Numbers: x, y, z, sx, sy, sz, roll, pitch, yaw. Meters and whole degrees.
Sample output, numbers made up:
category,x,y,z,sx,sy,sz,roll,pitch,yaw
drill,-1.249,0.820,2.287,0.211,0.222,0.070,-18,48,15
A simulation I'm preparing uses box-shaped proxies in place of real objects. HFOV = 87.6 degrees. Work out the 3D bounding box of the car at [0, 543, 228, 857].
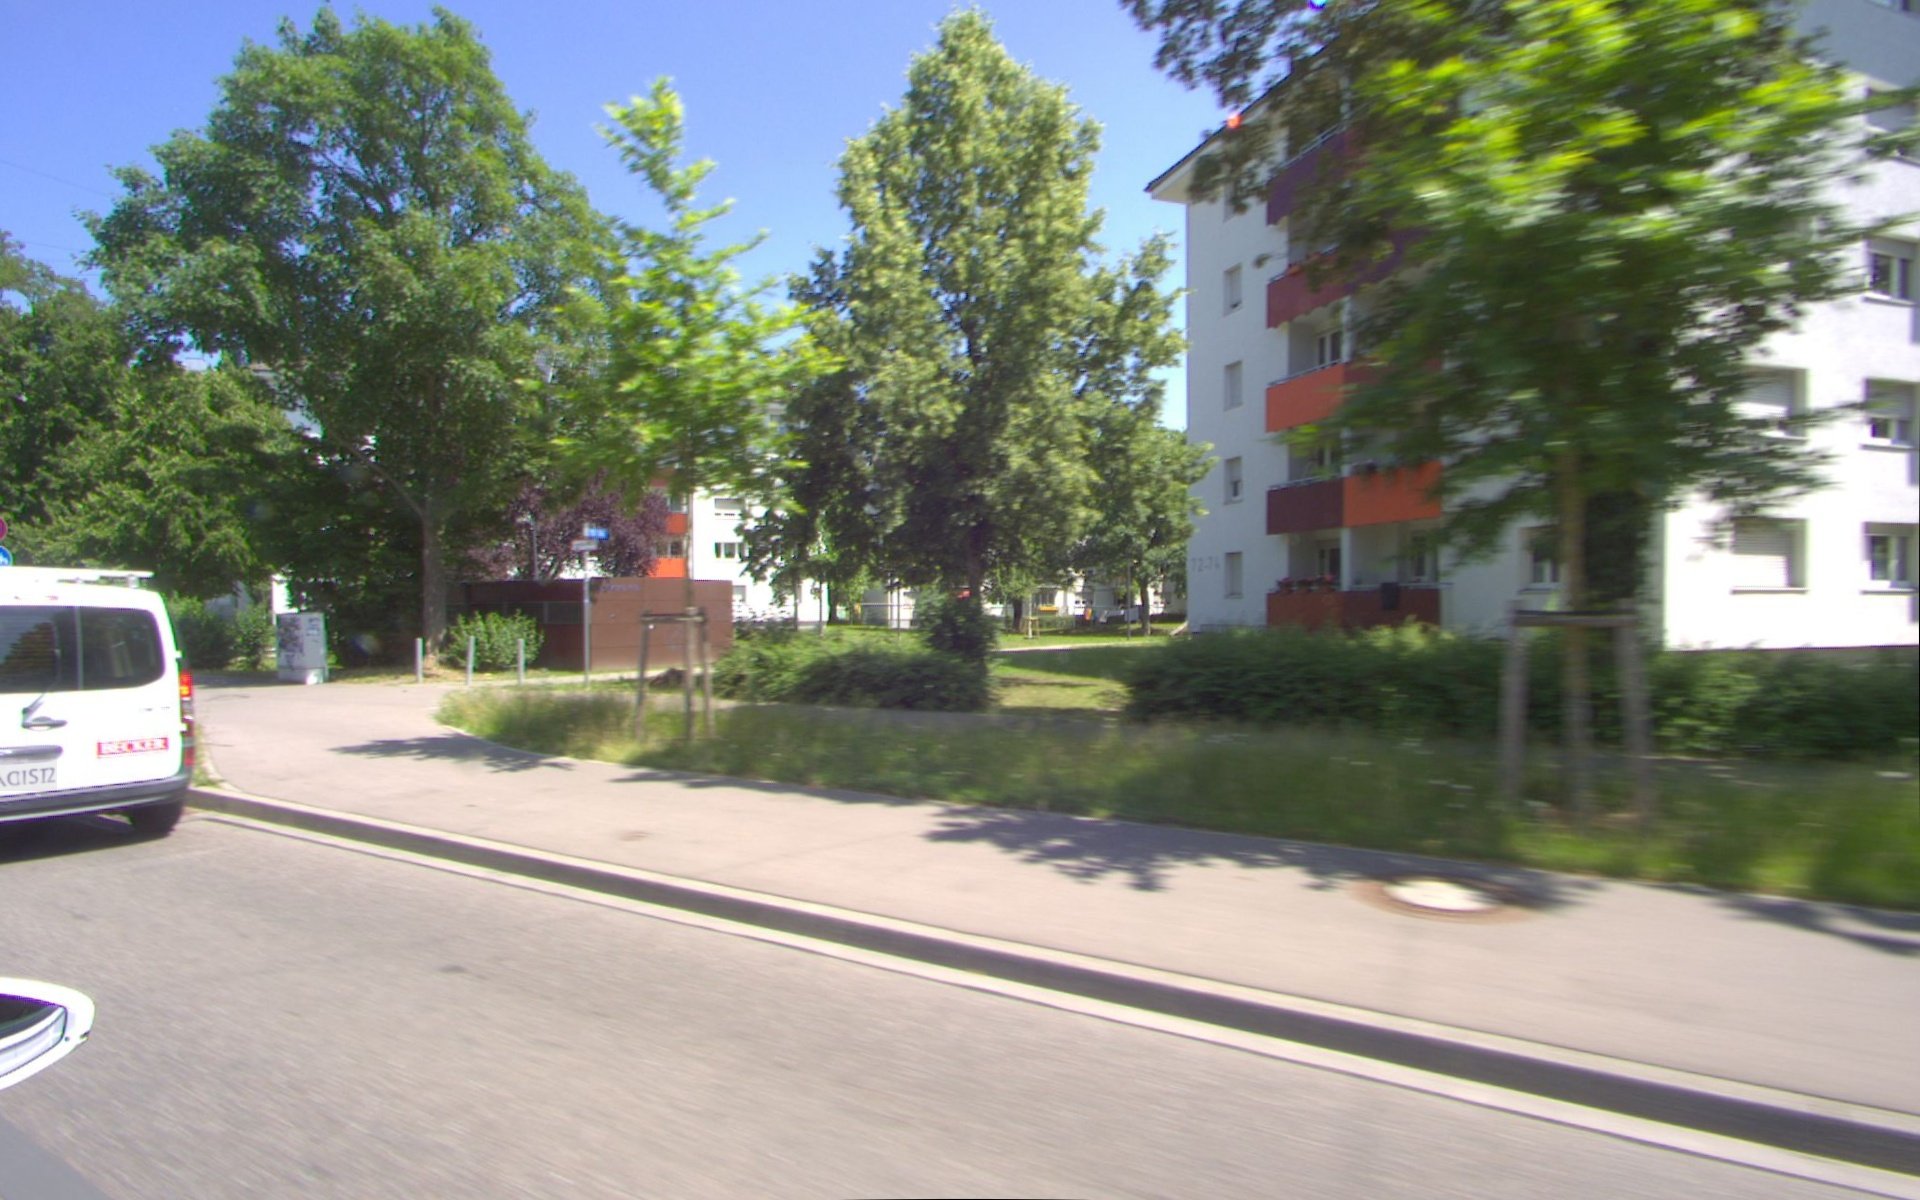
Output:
category,x,y,z,sx,sy,sz,roll,pitch,yaw
car,-7.555,0.635,7.494,4.391,1.906,1.821,0,-1,32
